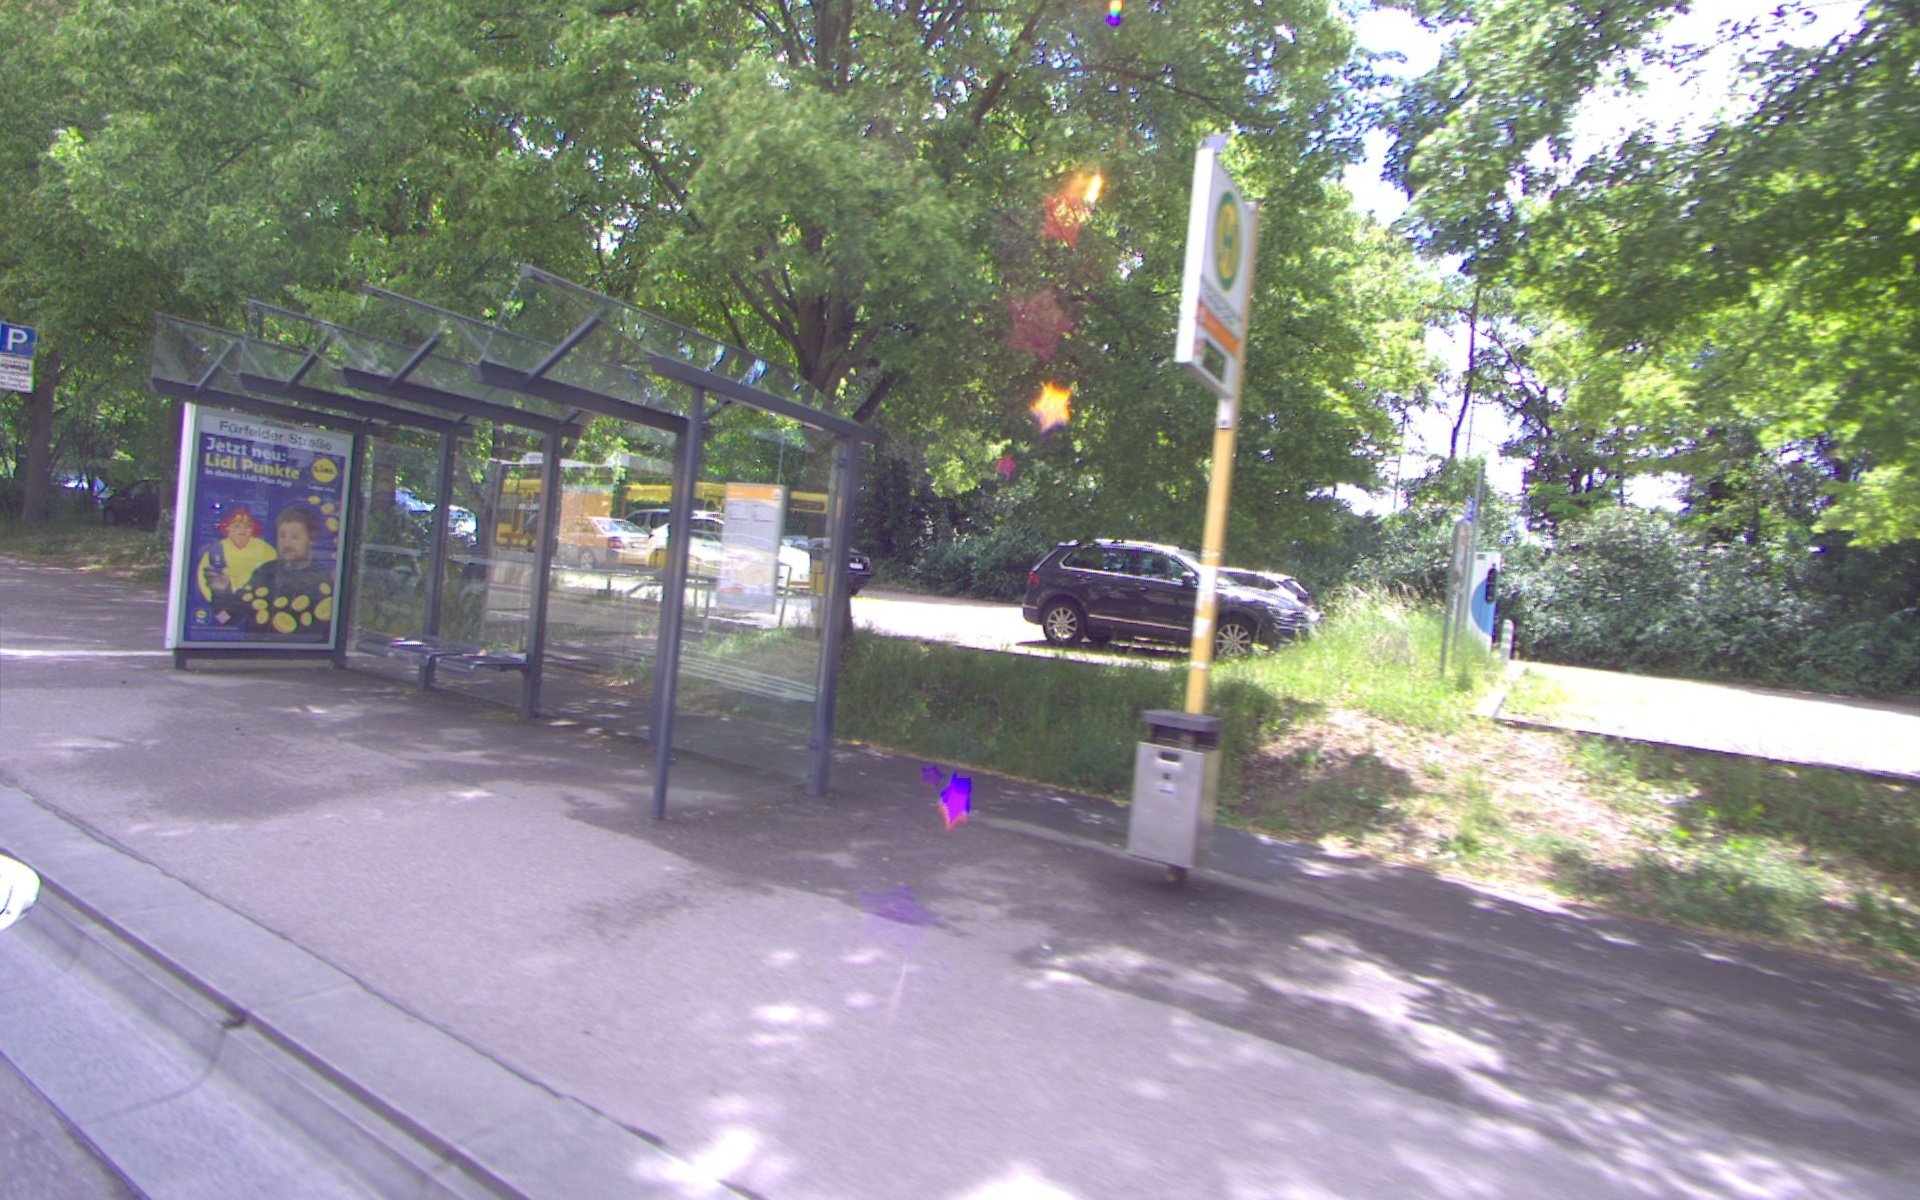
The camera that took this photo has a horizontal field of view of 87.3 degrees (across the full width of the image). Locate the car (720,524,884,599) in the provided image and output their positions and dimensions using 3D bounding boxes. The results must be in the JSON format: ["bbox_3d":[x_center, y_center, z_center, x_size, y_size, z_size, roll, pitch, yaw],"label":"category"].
[{"bbox_3d":[-4.063,-0.990,25.646,3.936,1.472,1.682,7,2,34],"label":"car"}]

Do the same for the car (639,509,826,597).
[{"bbox_3d":[-5.230,-1.094,22.852,4.360,1.577,1.468,8,5,34],"label":"car"}]

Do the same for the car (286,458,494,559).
[{"bbox_3d":[-12.429,-2.004,21.845,4.646,1.682,1.849,7,0,32],"label":"car"}]

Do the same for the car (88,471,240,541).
[{"bbox_3d":[-21.310,-2.518,26.932,3.750,1.432,1.611,7,2,24],"label":"car"}]

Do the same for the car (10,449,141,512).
[{"bbox_3d":[-26.136,-3.538,29.704,3.923,1.483,1.798,7,2,31],"label":"car"}]

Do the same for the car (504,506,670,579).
[{"bbox_3d":[-9.488,-1.472,25.497,4.280,1.462,1.612,7,3,32],"label":"car"}]

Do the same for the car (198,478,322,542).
[{"bbox_3d":[-20.227,-2.607,29.037,3.563,1.529,1.691,7,4,33],"label":"car"}]

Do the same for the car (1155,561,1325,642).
[{"bbox_3d":[5.385,0.001,19.413,2.812,1.321,1.407,5,3,31],"label":"car"}]

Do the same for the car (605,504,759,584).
[{"bbox_3d":[-7.654,-1.537,27.593,4.138,1.815,1.612,7,4,32],"label":"car"}]

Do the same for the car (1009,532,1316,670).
[{"bbox_3d":[3.033,-0.055,15.368,4.191,1.718,1.687,5,3,31],"label":"car"}]
